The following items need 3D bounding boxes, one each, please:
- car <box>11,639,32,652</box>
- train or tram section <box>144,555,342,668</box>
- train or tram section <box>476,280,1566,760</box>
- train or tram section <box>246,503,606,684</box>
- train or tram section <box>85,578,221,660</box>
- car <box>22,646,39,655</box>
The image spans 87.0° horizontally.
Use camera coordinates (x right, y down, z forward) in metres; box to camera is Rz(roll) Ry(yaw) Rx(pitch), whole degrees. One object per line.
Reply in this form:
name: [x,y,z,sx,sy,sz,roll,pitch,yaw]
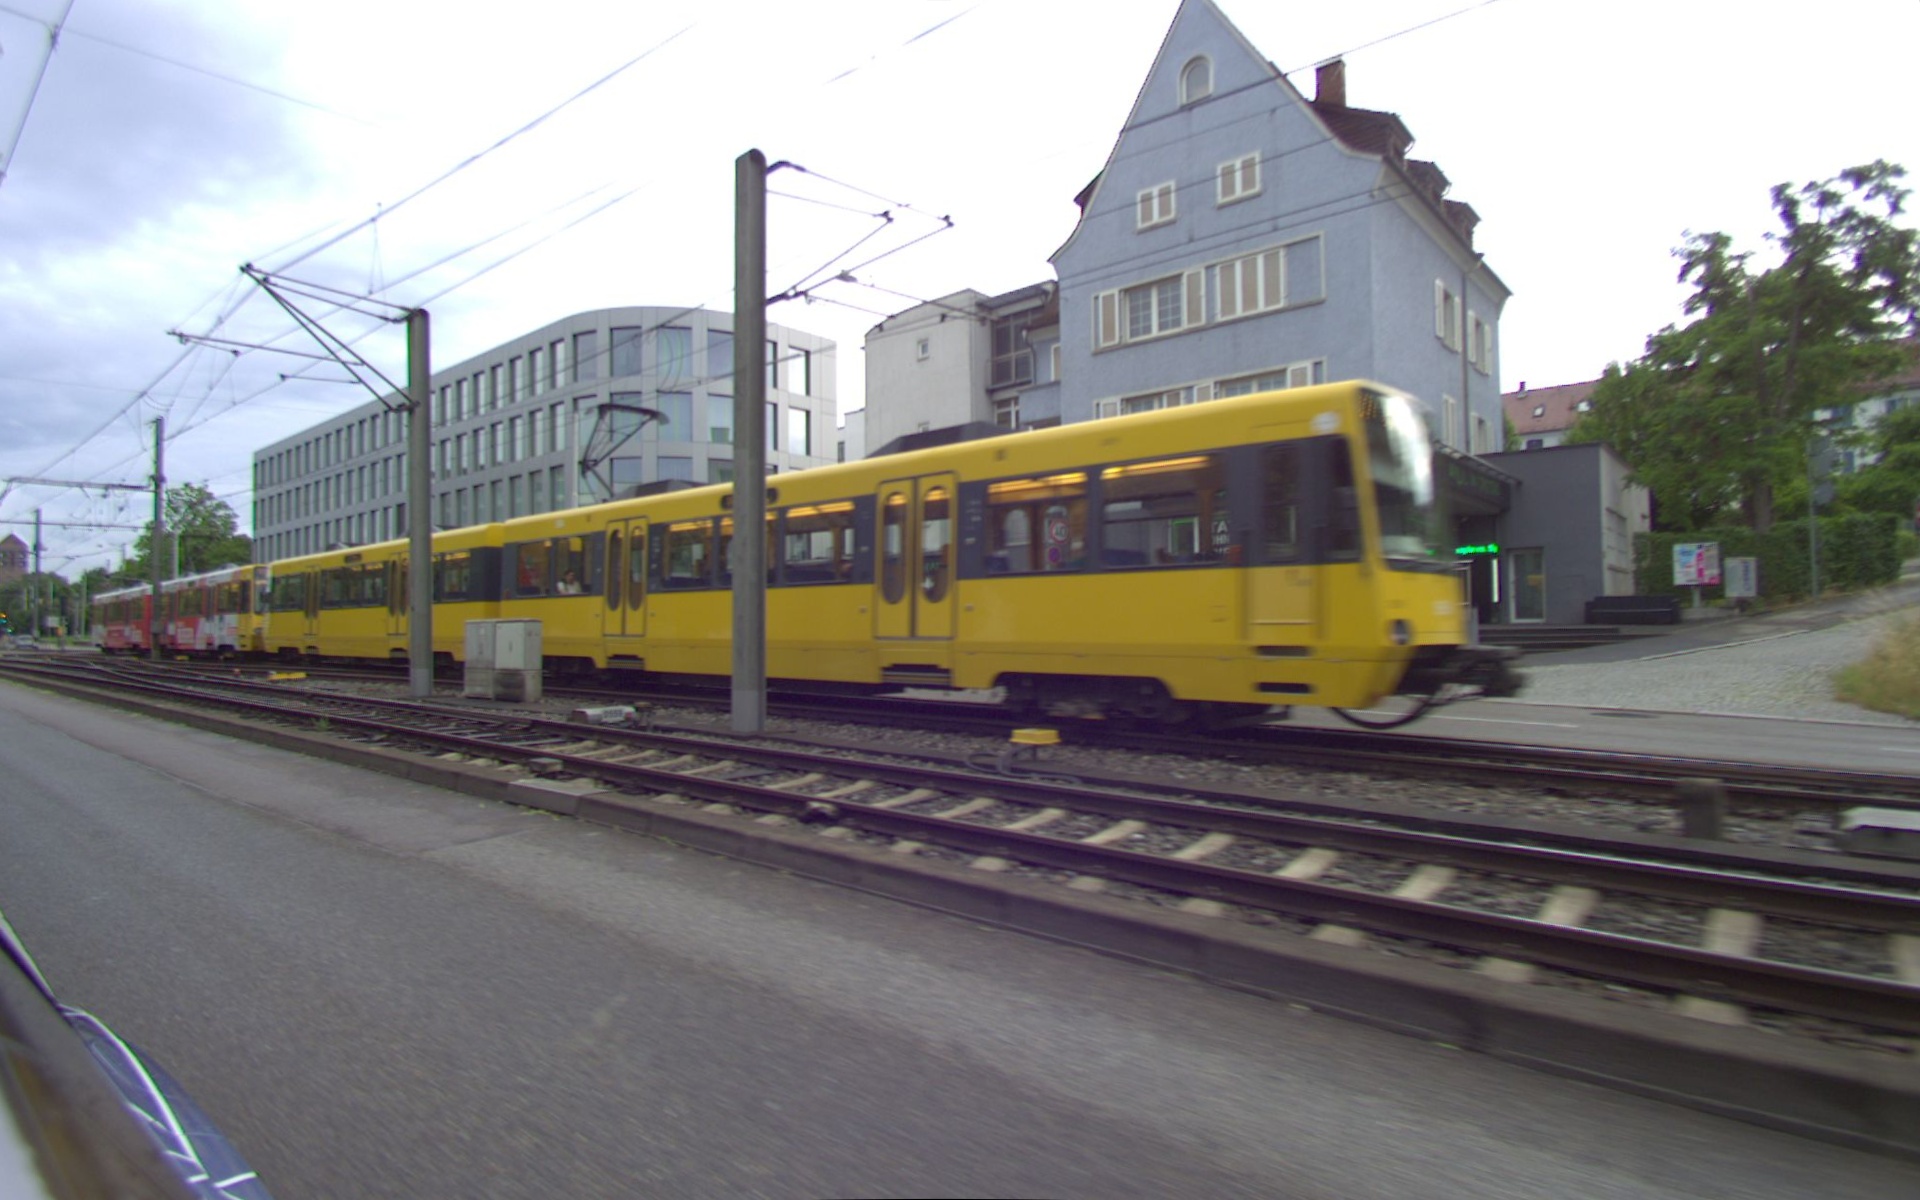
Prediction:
car: [-127.168,6.213,137.155,3.562,1.649,1.788,-3,-2,41]
train or tram section: [-30.114,0.646,41.789,18.612,3.840,2.935,-2,-2,43]
train or tram section: [-2.052,-0.378,15.798,19.517,3.840,2.935,-2,-2,43]
train or tram section: [-16.247,0.127,28.974,19.096,3.840,2.935,-2,-2,43]
train or tram section: [-43.763,1.145,54.460,18.612,3.840,2.935,-2,-2,43]
car: [-154.123,8.370,167.844,3.563,1.561,1.752,-3,-2,42]
